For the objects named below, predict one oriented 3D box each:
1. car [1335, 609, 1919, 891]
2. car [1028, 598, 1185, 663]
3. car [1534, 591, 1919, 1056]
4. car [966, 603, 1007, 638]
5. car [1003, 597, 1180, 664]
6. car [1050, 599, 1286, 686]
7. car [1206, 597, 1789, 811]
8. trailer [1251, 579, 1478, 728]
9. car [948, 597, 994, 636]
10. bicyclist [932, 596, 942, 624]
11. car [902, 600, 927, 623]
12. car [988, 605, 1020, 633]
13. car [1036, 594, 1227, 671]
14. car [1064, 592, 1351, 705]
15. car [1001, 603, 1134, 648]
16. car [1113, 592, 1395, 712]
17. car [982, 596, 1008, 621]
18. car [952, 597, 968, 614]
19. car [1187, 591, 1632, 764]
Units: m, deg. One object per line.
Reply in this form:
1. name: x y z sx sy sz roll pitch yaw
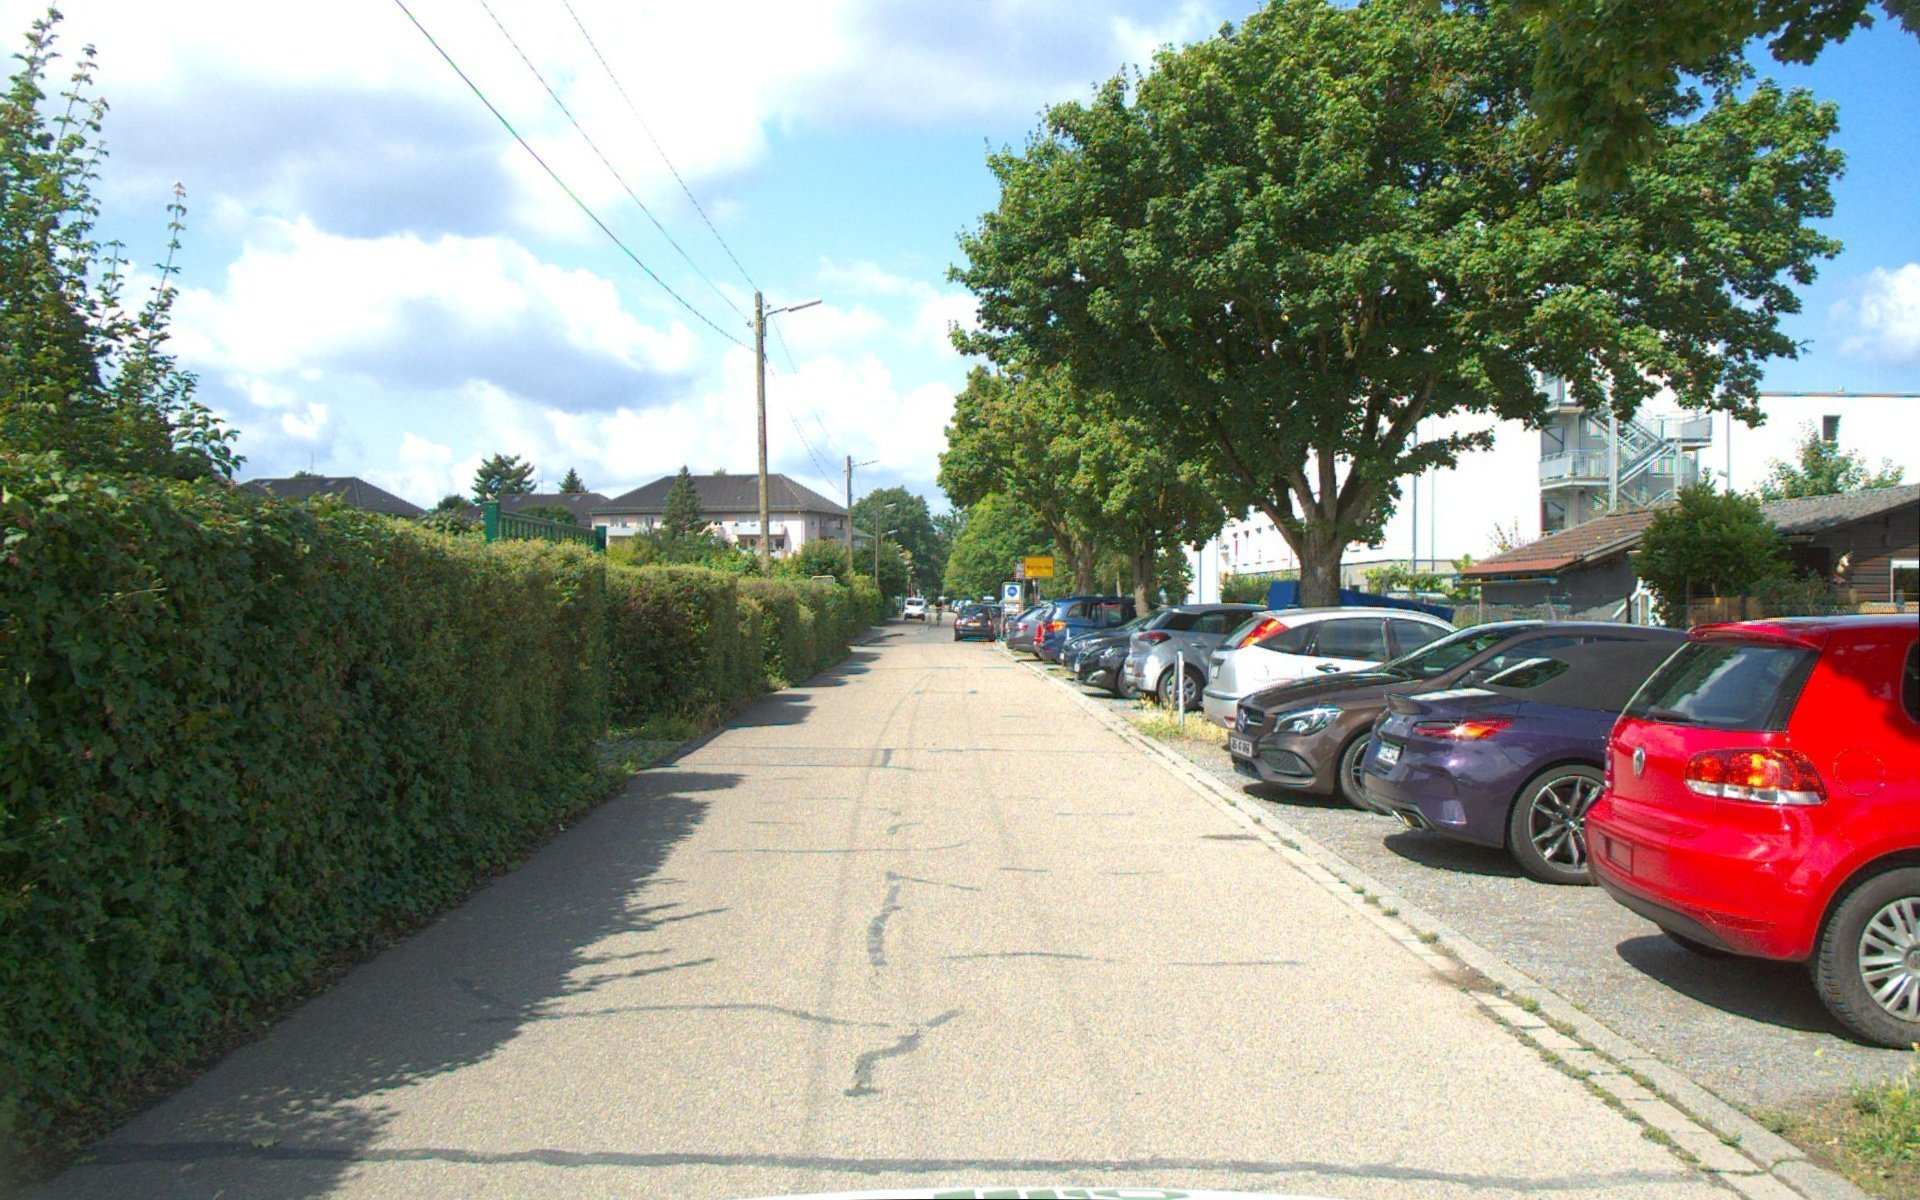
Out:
1. car: 4.390 0.835 9.967 3.829 1.448 1.958 2 -1 2
2. car: 3.615 0.752 41.223 3.732 1.559 1.761 0 -1 -1
3. car: 4.510 0.804 6.456 3.904 1.546 1.855 2 -1 2
4. car: 1.306 0.992 79.760 1.628 1.579 3.639 1 -1 6
5. car: 3.426 0.790 43.628 4.457 1.606 1.808 2 -1 -3
6. car: 3.961 0.798 31.967 4.248 1.518 1.975 2 -1 -2
7. car: 4.129 0.784 13.129 3.985 1.481 1.868 2 -1 -4
8. trailer: 5.084 0.651 20.953 2.402 1.750 1.517 2 0 -5
9. car: 0.496 0.685 68.184 1.628 1.532 4.002 1 -1 4
10. bicyclist: -1.532 0.674 110.609 0.645 1.884 1.043 -1 -1 1
11. car: -3.746 0.946 136.766 1.863 1.846 4.000 2 -1 1
12. car: 2.403 1.060 90.581 1.629 1.460 3.541 2 -1 0
13. car: 3.786 0.712 37.042 4.070 1.666 1.878 0 -1 -1
14. car: 3.870 0.751 26.396 4.215 1.622 1.999 2 -1 -2
15. car: 3.515 0.840 54.366 4.267 1.416 1.719 -1 -1 3
16. car: 4.168 0.729 23.819 3.650 1.567 1.848 2 -1 -4
17. car: 2.868 0.726 135.068 2.015 1.960 4.541 2 -1 1
18. car: -0.052 0.734 216.235 1.953 2.049 3.999 2 -1 -2
19. car: 4.413 0.742 16.742 3.980 1.538 1.958 2 -1 2
